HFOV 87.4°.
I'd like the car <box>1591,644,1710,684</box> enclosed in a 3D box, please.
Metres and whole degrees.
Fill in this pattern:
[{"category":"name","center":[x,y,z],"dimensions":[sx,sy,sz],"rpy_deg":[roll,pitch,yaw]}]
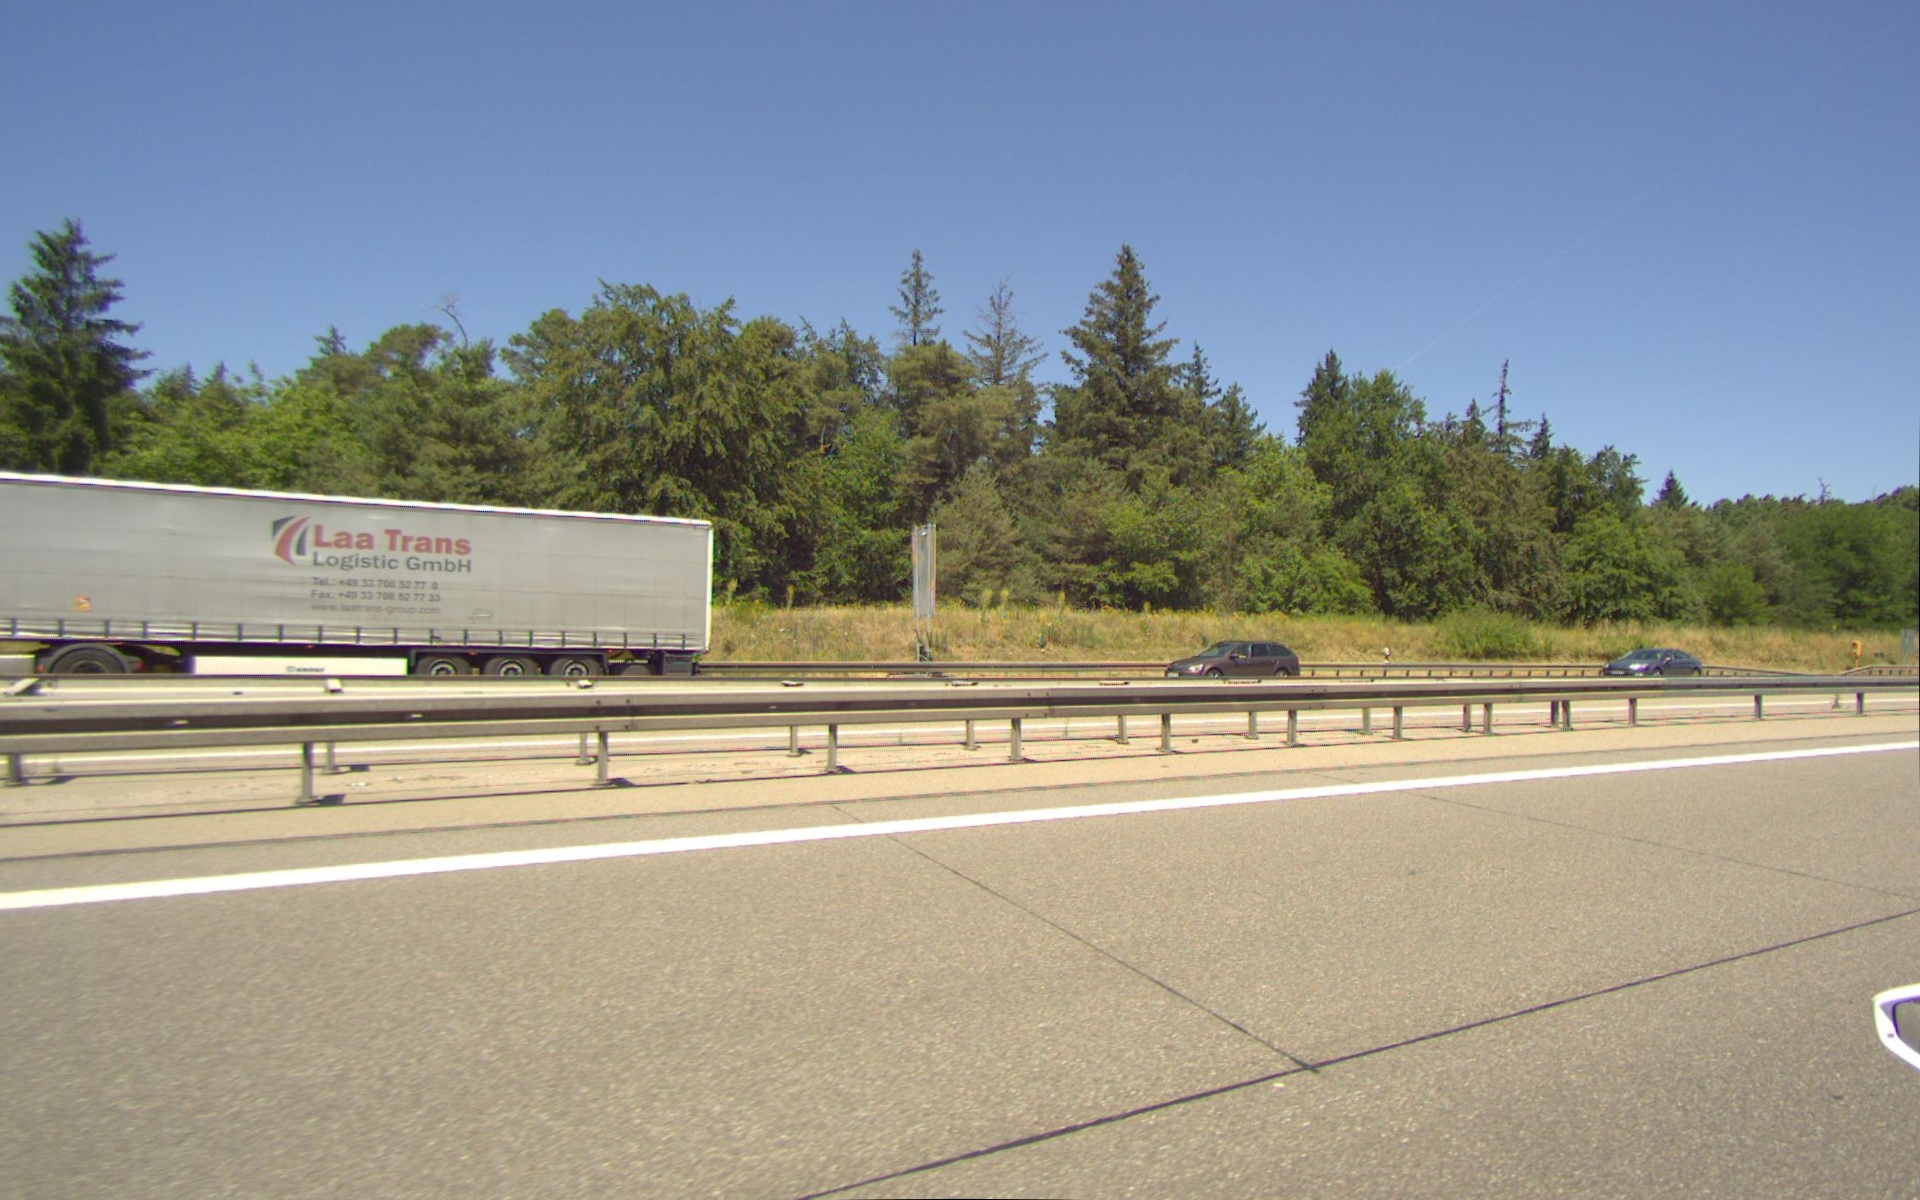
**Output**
[{"category":"car","center":[27.674,2.547,40.225],"dimensions":[4.880,1.482,1.919],"rpy_deg":[2,-2,-28]}]

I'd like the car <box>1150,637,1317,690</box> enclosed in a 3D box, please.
[{"category":"car","center":[8.458,1.930,30.989],"dimensions":[4.880,1.482,2.077],"rpy_deg":[2,-2,-28]}]

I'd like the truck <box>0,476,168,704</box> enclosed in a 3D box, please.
[{"category":"truck","center":[-18.401,-0.218,18.471],"dimensions":[5.329,3.983,3.158],"rpy_deg":[2,0,-26]}]

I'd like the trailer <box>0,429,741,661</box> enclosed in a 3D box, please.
[{"category":"trailer","center":[-11.977,-0.800,21.656],"dimensions":[13.779,3.983,3.158],"rpy_deg":[2,0,-26]}]
